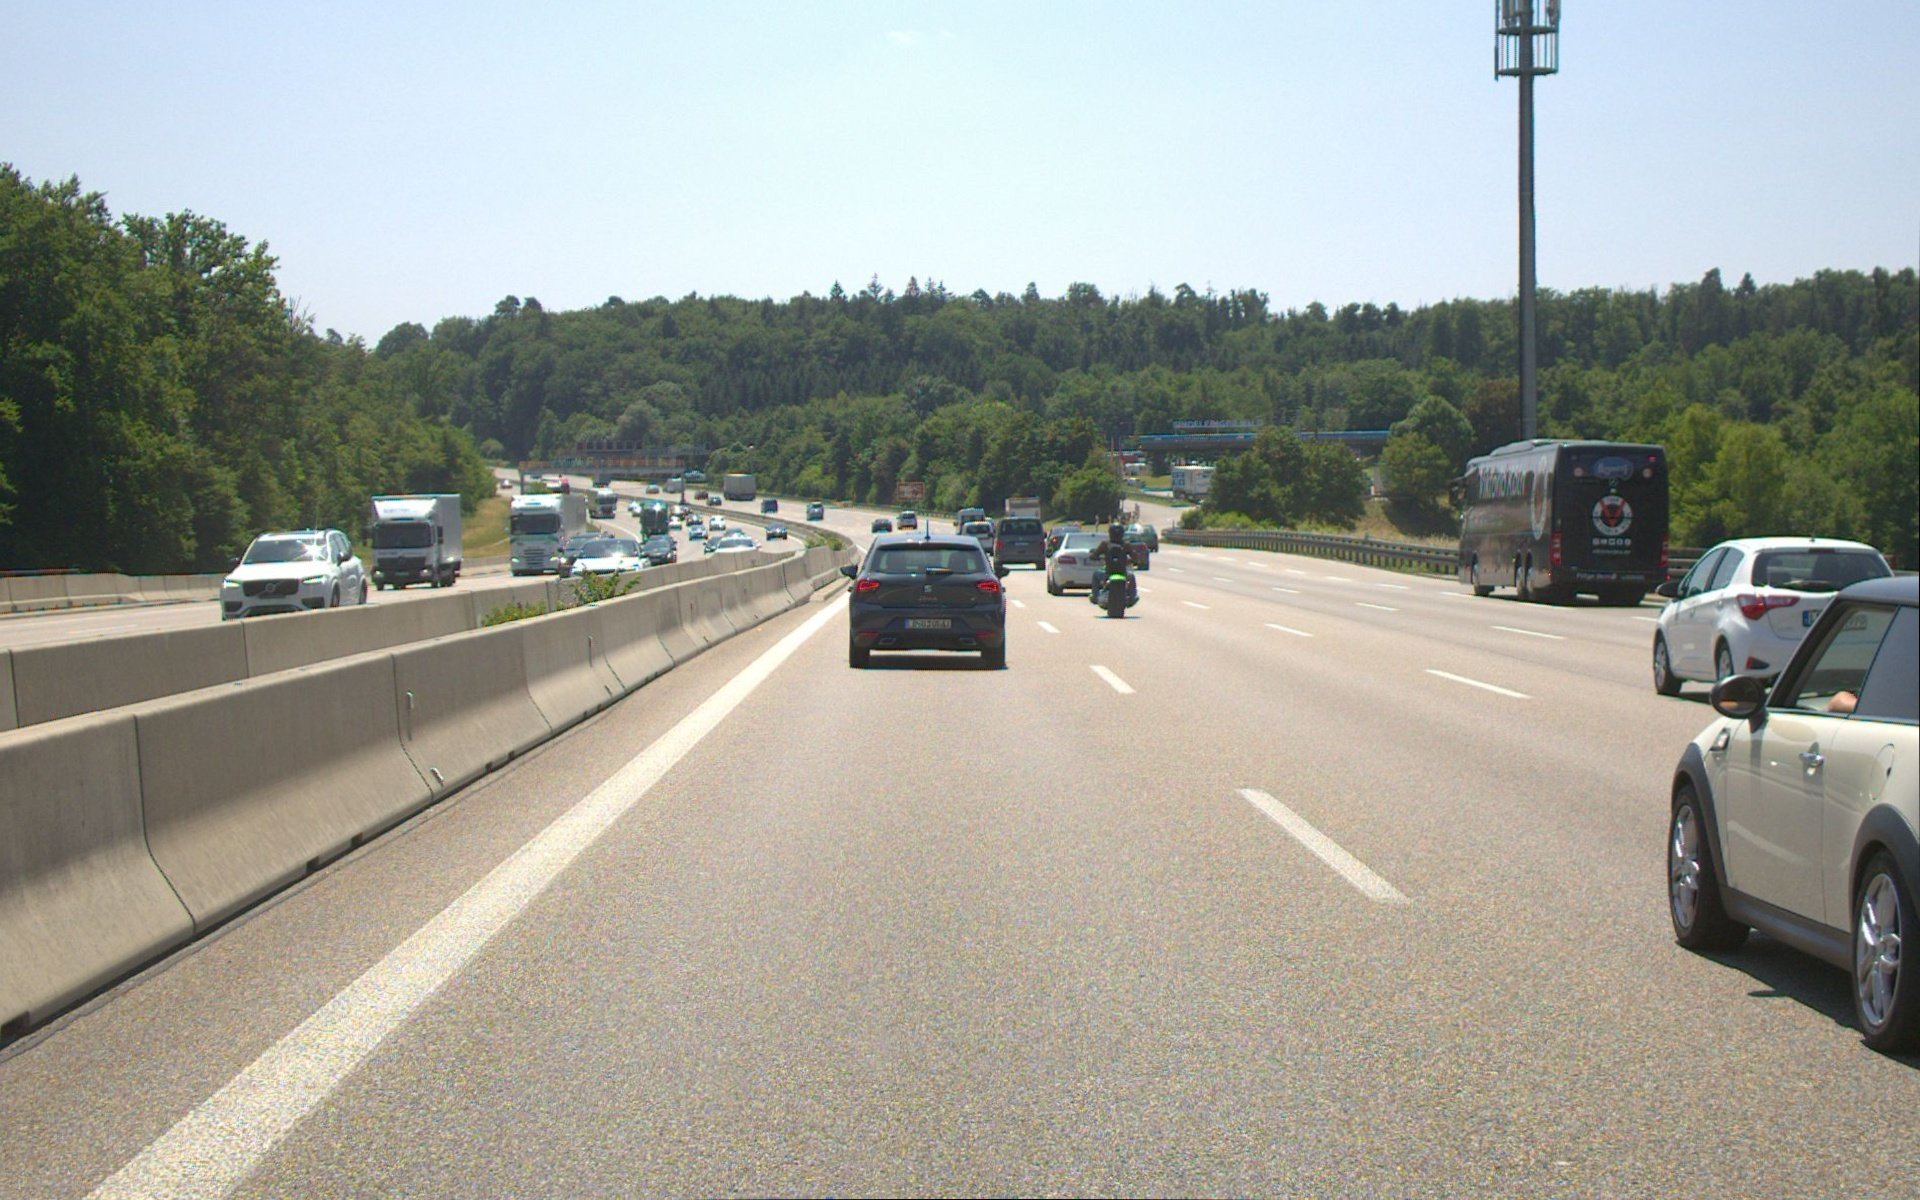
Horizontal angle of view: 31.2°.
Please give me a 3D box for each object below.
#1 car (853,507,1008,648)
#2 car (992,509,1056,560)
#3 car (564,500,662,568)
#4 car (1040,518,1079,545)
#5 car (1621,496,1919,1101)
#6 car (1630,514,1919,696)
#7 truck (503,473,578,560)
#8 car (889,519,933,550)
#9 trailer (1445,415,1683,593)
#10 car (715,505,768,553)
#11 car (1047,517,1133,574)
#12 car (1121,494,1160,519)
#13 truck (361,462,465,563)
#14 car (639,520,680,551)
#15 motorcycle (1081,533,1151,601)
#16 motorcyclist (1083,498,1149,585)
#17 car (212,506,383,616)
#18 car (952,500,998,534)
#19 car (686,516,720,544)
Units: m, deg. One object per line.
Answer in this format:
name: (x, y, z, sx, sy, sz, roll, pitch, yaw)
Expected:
car: (-0.323, -0.239, 38.065, 1.624, 1.482, 3.685, 0, 0, 0)
car: (2.362, -2.469, 128.795, 2.097, 1.845, 4.082, -1, 1, -3)
car: (-8.329, -1.612, 82.961, 1.848, 1.518, 5.319, -2, 2, -1)
car: (4.660, -3.243, 161.582, 1.608, 1.208, 3.460, -1, 1, -2)
car: (3.457, 0.474, 11.142, 1.841, 1.546, 4.001, 0, 3, 0)
car: (7.384, -0.008, 30.997, 1.666, 1.428, 4.376, -3, 1, -1)
truck: (-20.901, -4.184, 171.780, 2.715, 4.085, 7.878, -3, 1, -1)
car: (-2.023, -2.703, 141.500, 1.536, 1.208, 3.461, -1, 1, -5)
trailer: (13.629, -2.144, 78.909, 2.857, 3.675, 13.544, -1, 1, -1)
car: (-9.085, -2.979, 143.071, 1.774, 1.873, 5.211, 1, 2, 1)
car: (2.969, -1.274, 79.146, 1.782, 1.261, 3.460, -1, 1, -1)
car: (8.999, -4.681, 171.861, 1.608, 1.208, 3.460, -1, 1, -2)
truck: (-20.477, -3.283, 129.058, 2.539, 3.558, 8.578, -3, 2, -1)
car: (-15.985, -3.439, 182.777, 1.798, 1.476, 4.398, -3, 2, -1)
motorcycle: (2.680, -0.583, 59.243, 0.977, 1.125, 2.271, -1, 1, -3)
motorcyclist: (2.677, -1.009, 59.054, 0.962, 1.432, 1.235, -2, 2, -3)
car: (-11.624, -0.727, 60.640, 1.993, 1.781, 5.319, -2, 2, -1)
car: (0.757, -4.337, 179.365, 1.993, 1.678, 4.425, 0, 2, -5)
car: (-15.940, -4.352, 213.412, 1.798, 1.637, 5.079, -1, 0, -1)
